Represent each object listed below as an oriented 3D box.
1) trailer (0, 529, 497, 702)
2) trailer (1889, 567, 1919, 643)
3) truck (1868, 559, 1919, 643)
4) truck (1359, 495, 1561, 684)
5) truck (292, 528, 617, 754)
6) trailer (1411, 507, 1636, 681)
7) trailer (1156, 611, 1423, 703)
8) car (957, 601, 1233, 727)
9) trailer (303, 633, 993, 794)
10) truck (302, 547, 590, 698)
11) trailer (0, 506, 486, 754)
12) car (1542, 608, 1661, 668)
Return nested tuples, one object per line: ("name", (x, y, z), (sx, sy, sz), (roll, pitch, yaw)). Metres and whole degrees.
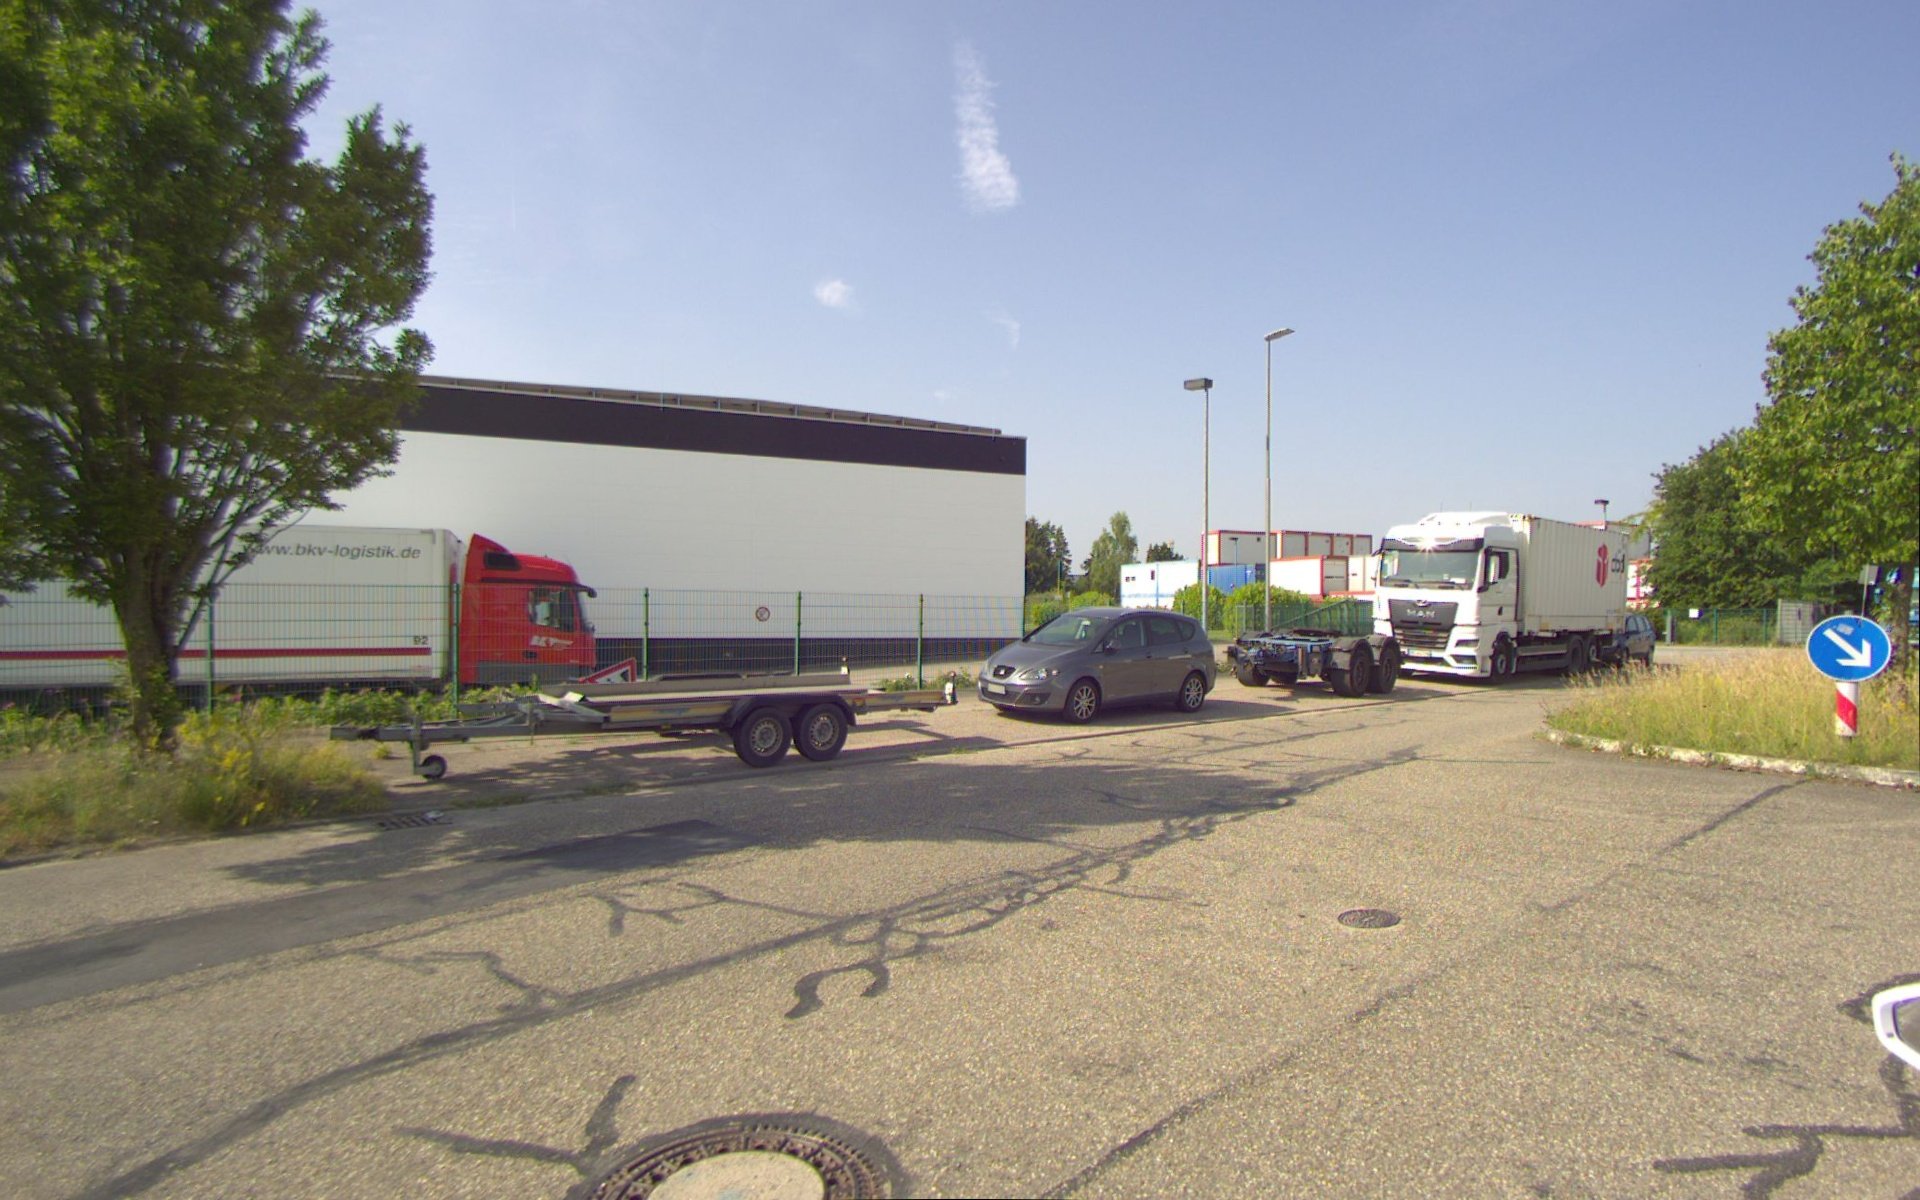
("trailer", (-19.840, 0.445, 26.390), (13.821, 4.060, 2.846), (2, 1, -25))
("trailer", (53.793, 0.473, 55.063), (11.943, 3.894, 2.806), (3, 1, -41))
("truck", (47.578, 0.192, 49.637), (9.598, 3.876, 2.800), (3, 1, -41))
("truck", (11.783, -0.195, 23.586), (4.264, 3.974, 2.685), (2, 1, -41))
("truck", (-10.126, 0.835, 20.604), (5.470, 4.125, 2.505), (3, 1, -26))
("trailer", (14.980, -0.049, 26.423), (7.517, 3.974, 2.675), (2, 1, -41))
("trailer", (6.470, 0.994, 19.507), (5.034, 1.473, 2.659), (1, 1, -39))
("car", (2.152, 0.867, 15.284), (4.301, 1.582, 1.681), (1, 2, -41))
("trailer", (-2.918, 0.967, 10.783), (6.659, 0.937, 2.524), (1, 3, -42))
("truck", (-14.538, 0.698, 28.948), (6.920, 3.923, 2.756), (3, 1, -26))
("trailer", (-16.088, 0.474, 17.810), (13.700, 4.095, 2.474), (3, 1, -25))
("car", (19.937, 1.119, 31.144), (4.554, 1.663, 1.975), (1, 1, -43))
